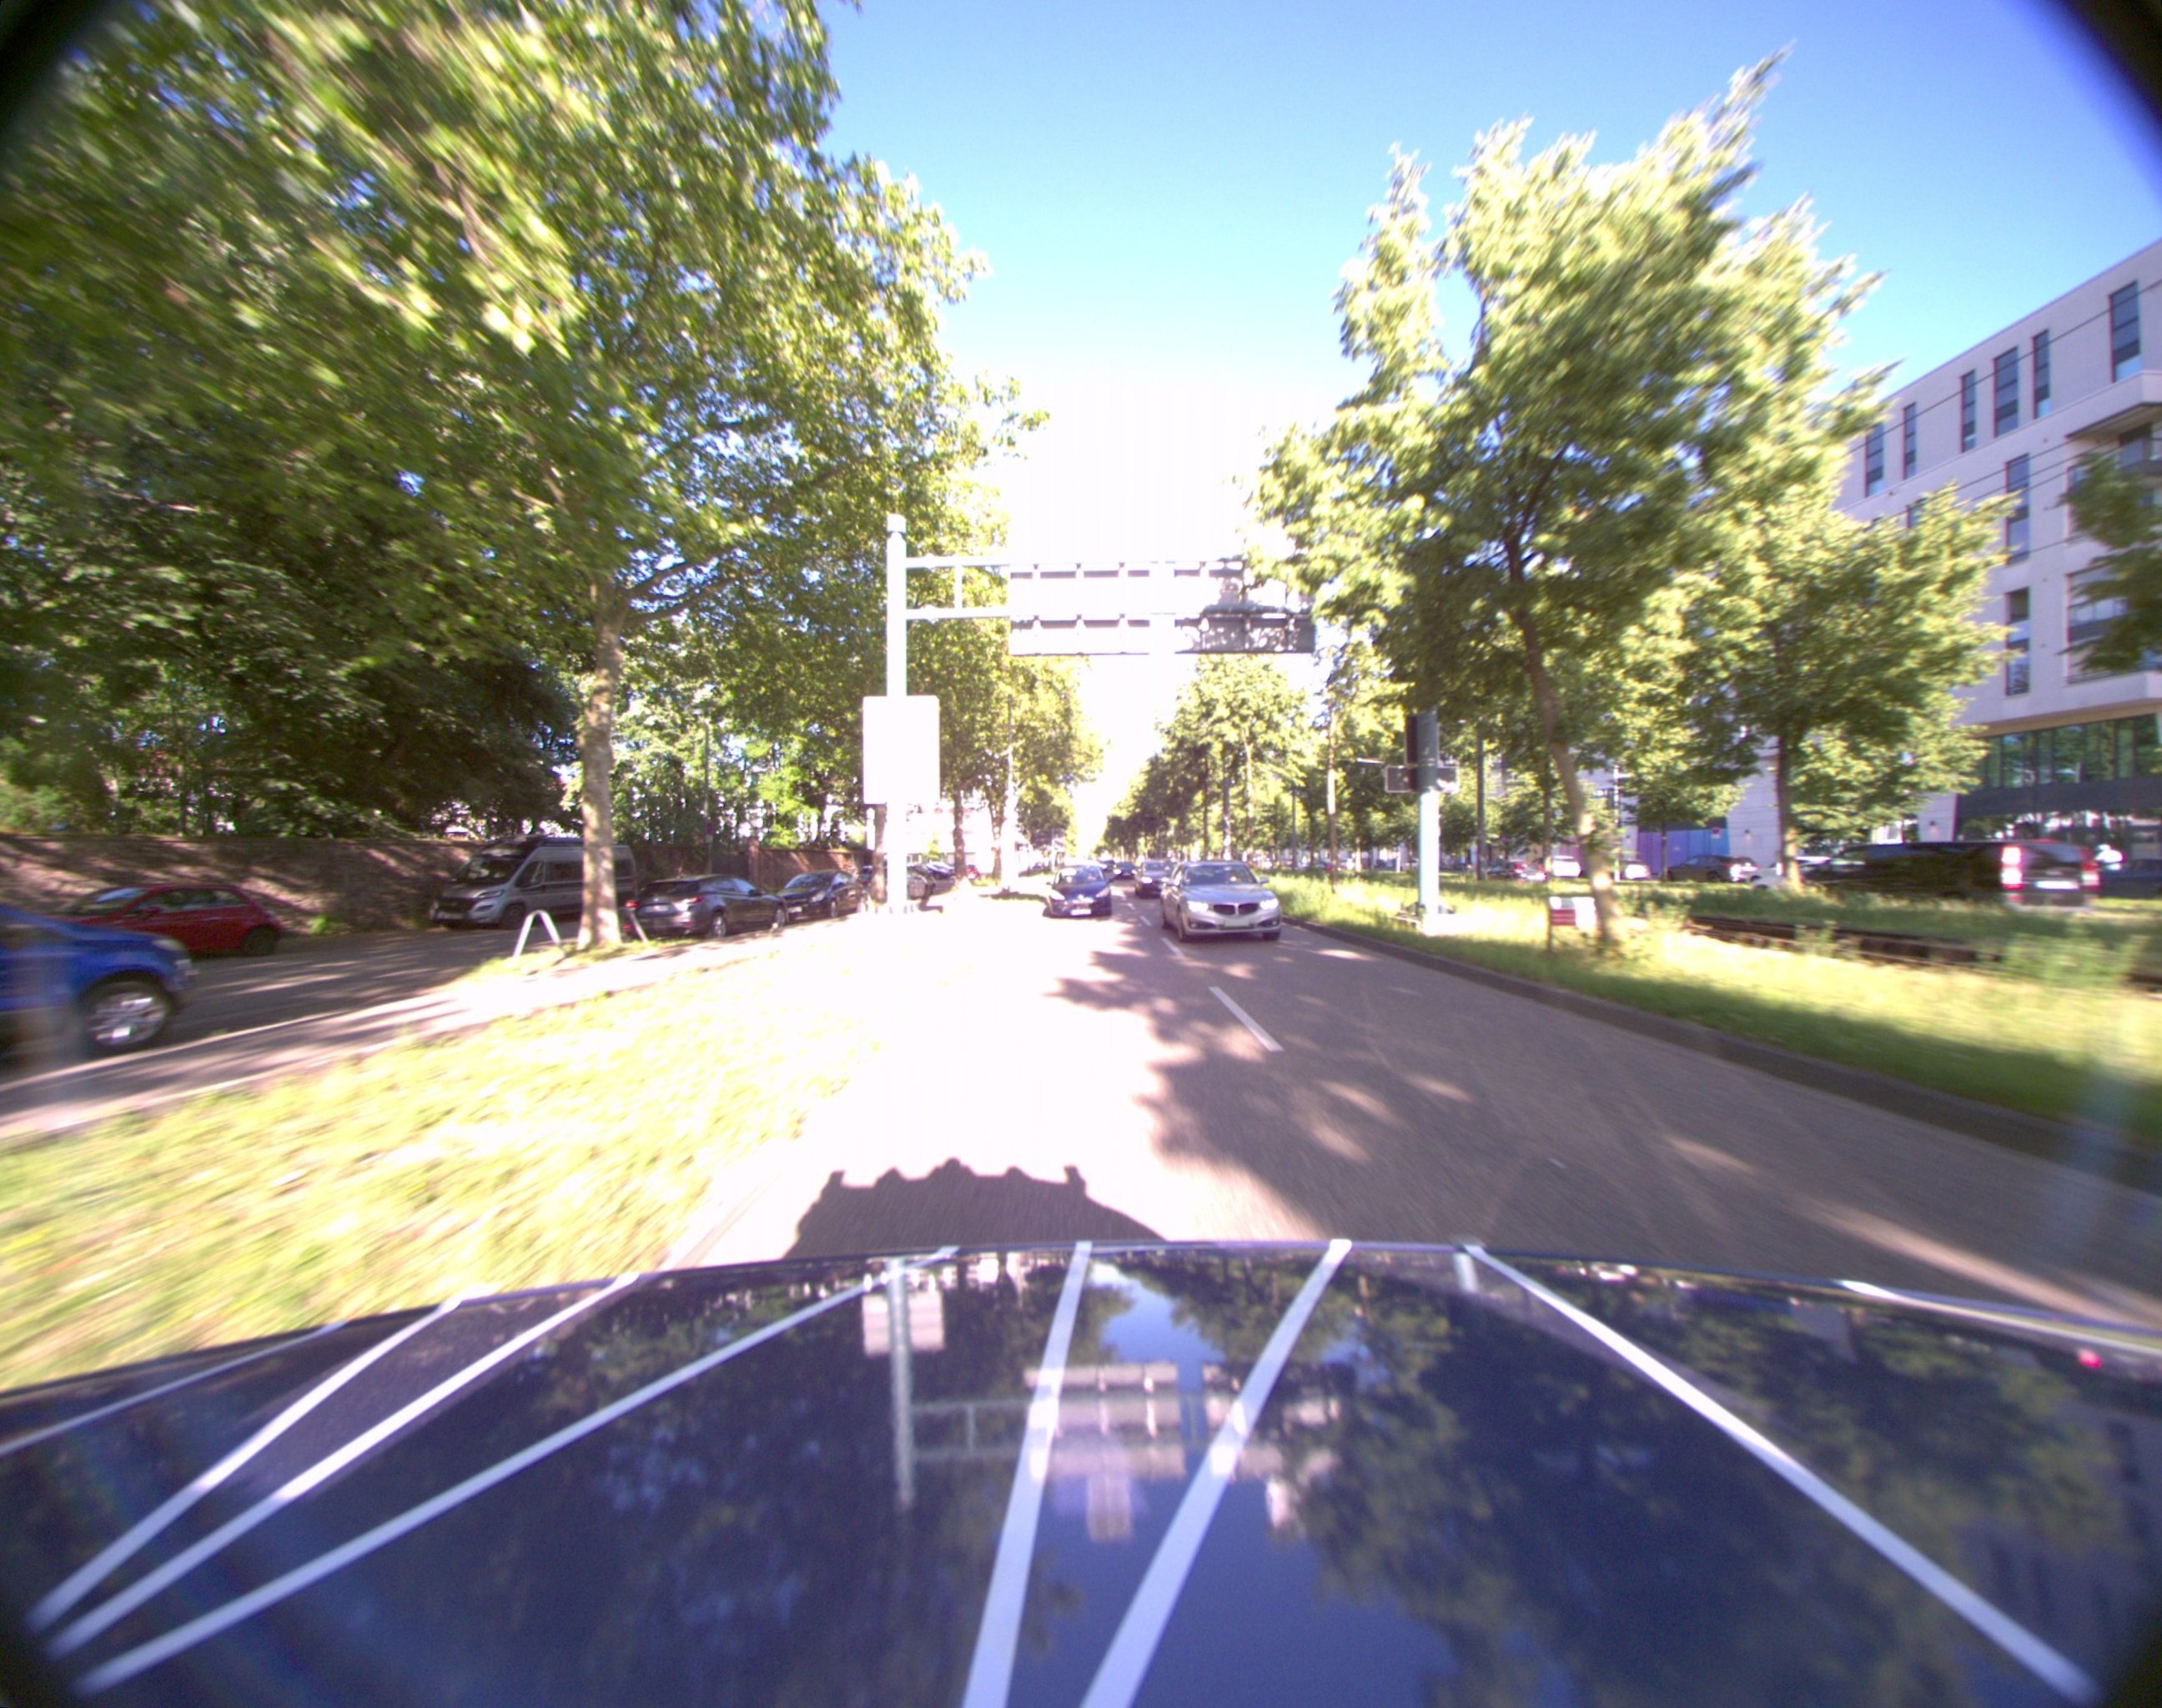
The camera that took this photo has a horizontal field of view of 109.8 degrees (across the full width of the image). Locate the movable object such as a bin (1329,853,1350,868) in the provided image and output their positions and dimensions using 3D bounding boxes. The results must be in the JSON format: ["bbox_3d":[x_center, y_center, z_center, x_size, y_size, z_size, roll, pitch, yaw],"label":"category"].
[{"bbox_3d":[32.329,0.823,94.957,1.975,1.784,1.555,-2,1,-1],"label":"movable object such as a bin"}]

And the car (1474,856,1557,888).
[{"bbox_3d":[23.148,0.902,40.683,1.998,1.519,4.319,-2,0,1],"label":"car"}]

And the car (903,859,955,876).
[{"bbox_3d":[-15.171,1.337,75.819,4.731,1.398,2.000,2,0,1],"label":"car"}]

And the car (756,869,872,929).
[{"bbox_3d":[-7.672,1.228,22.237,1.797,1.429,3.884,-2,1,3],"label":"car"}]

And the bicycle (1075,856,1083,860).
[{"bbox_3d":[-0.411,1.016,191.517,1.927,0.899,0.647,-1,0,4],"label":"bicycle"}]

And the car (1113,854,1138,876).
[{"bbox_3d":[3.480,0.830,60.035,1.782,1.571,3.783,-2,1,1],"label":"car"}]

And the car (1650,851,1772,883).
[{"bbox_3d":[31.852,0.620,38.627,1.999,1.433,4.935,-2,0,-2],"label":"car"}]

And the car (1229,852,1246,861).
[{"bbox_3d":[26.576,0.426,129.129,1.998,1.433,5.110,-2,0,2],"label":"car"}]

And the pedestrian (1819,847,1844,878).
[{"bbox_3d":[41.437,0.468,41.957,0.637,1.641,0.720,-2,1,-1],"label":"pedestrian"}]

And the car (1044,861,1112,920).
[{"bbox_3d":[-0.010,0.994,22.500,1.766,1.462,4.000,-2,1,2],"label":"car"}]

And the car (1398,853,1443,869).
[{"bbox_3d":[32.541,0.644,72.950,1.999,1.433,4.924,-2,0,-2],"label":"car"}]

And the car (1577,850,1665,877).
[{"bbox_3d":[32.176,0.528,45.485,1.999,1.433,4.455,-2,0,-2],"label":"car"}]

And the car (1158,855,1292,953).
[{"bbox_3d":[2.685,0.860,15.126,1.886,1.569,4.277,-2,1,1],"label":"car"}]

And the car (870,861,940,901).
[{"bbox_3d":[-8.363,1.230,36.514,1.797,1.625,4.628,-2,0,6],"label":"car"}]

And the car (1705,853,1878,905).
[{"bbox_3d":[23.354,0.764,25.243,1.998,1.562,4.167,-1,0,4],"label":"car"}]

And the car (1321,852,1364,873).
[{"bbox_3d":[20.319,0.623,59.203,1.998,1.433,4.456,-2,0,3],"label":"car"}]

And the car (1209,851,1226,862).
[{"bbox_3d":[23.290,0.409,129.810,1.998,1.676,5.110,-2,0,0],"label":"car"}]

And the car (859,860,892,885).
[{"bbox_3d":[-14.491,1.255,53.796,1.846,1.608,3.996,3,-1,-10],"label":"car"}]

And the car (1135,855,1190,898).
[{"bbox_3d":[3.228,0.853,30.812,1.950,1.513,4.000,-2,1,3],"label":"car"}]

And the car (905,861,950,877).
[{"bbox_3d":[-14.841,1.449,73.447,3.996,1.384,1.620,1,1,4],"label":"car"}]

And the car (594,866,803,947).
[{"bbox_3d":[-8.269,1.057,17.049,1.998,1.373,4.678,-3,0,4],"label":"car"}]

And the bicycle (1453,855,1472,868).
[{"bbox_3d":[39.953,0.792,79.615,0.949,1.273,2.773,-2,1,8],"label":"bicycle"}]

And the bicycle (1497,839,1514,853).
[{"bbox_3d":[39.297,-0.719,70.358,0.599,1.273,1.608,-2,1,-1],"label":"bicycle"}]

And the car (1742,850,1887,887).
[{"bbox_3d":[32.000,0.587,33.358,1.999,1.433,4.455,-2,0,-2],"label":"car"}]

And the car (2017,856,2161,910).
[{"bbox_3d":[31.638,0.822,22.758,1.963,1.433,4.265,-2,0,1],"label":"car"}]

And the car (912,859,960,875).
[{"bbox_3d":[-14.990,1.347,78.765,4.390,1.403,2.000,3,0,3],"label":"car"}]

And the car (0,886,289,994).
[{"bbox_3d":[-17.263,1.417,13.774,1.693,1.463,3.759,1,1,6],"label":"car"}]

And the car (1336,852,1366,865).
[{"bbox_3d":[32.374,0.525,91.193,1.999,1.433,4.019,-2,0,-1],"label":"car"}]

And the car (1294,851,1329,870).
[{"bbox_3d":[23.524,0.658,77.657,1.998,1.830,5.250,-1,0,1],"label":"car"}]

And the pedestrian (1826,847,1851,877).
[{"bbox_3d":[42.253,0.432,42.389,0.637,1.641,0.719,-2,1,-6],"label":"pedestrian"}]

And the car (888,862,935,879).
[{"bbox_3d":[-15.859,1.544,71.229,3.998,1.496,1.765,-1,0,-2],"label":"car"}]

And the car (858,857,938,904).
[{"bbox_3d":[-6.990,0.971,29.440,1.797,1.551,4.021,-4,0,4],"label":"car"}]

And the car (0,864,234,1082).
[{"bbox_3d":[-9.195,0.969,5.200,1.741,1.632,4.353,-2,1,2],"label":"car"}]

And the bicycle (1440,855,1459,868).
[{"bbox_3d":[38.903,0.829,80.202,0.949,1.273,2.773,-2,1,8],"label":"bicycle"}]

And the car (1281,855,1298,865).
[{"bbox_3d":[32.567,0.865,118.784,1.562,1.471,4.271,-2,0,0],"label":"car"}]

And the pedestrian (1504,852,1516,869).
[{"bbox_3d":[41.156,0.601,72.895,0.637,1.641,0.720,-2,1,-1],"label":"pedestrian"}]

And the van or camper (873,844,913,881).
[{"bbox_3d":[-14.654,0.614,59.425,1.999,2.715,4.963,2,0,-2],"label":"van or camper"}]

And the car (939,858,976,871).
[{"bbox_3d":[-14.688,1.238,90.236,4.089,1.459,1.715,1,1,2],"label":"car"}]

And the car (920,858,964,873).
[{"bbox_3d":[-14.916,1.204,81.607,4.340,1.469,1.906,1,-1,-3],"label":"car"}]

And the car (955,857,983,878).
[{"bbox_3d":[-9.467,1.101,63.860,2.000,1.630,3.996,-2,1,-12],"label":"car"}]

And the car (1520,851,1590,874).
[{"bbox_3d":[31.946,0.539,51.363,1.998,1.433,4.455,-2,0,1],"label":"car"}]

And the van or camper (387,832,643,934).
[{"bbox_3d":[-17.011,0.786,23.545,2.561,2.668,6.567,1,0,6],"label":"van or camper"}]

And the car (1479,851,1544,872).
[{"bbox_3d":[31.940,0.538,56.491,1.999,1.433,4.778,-2,0,-2],"label":"car"}]
